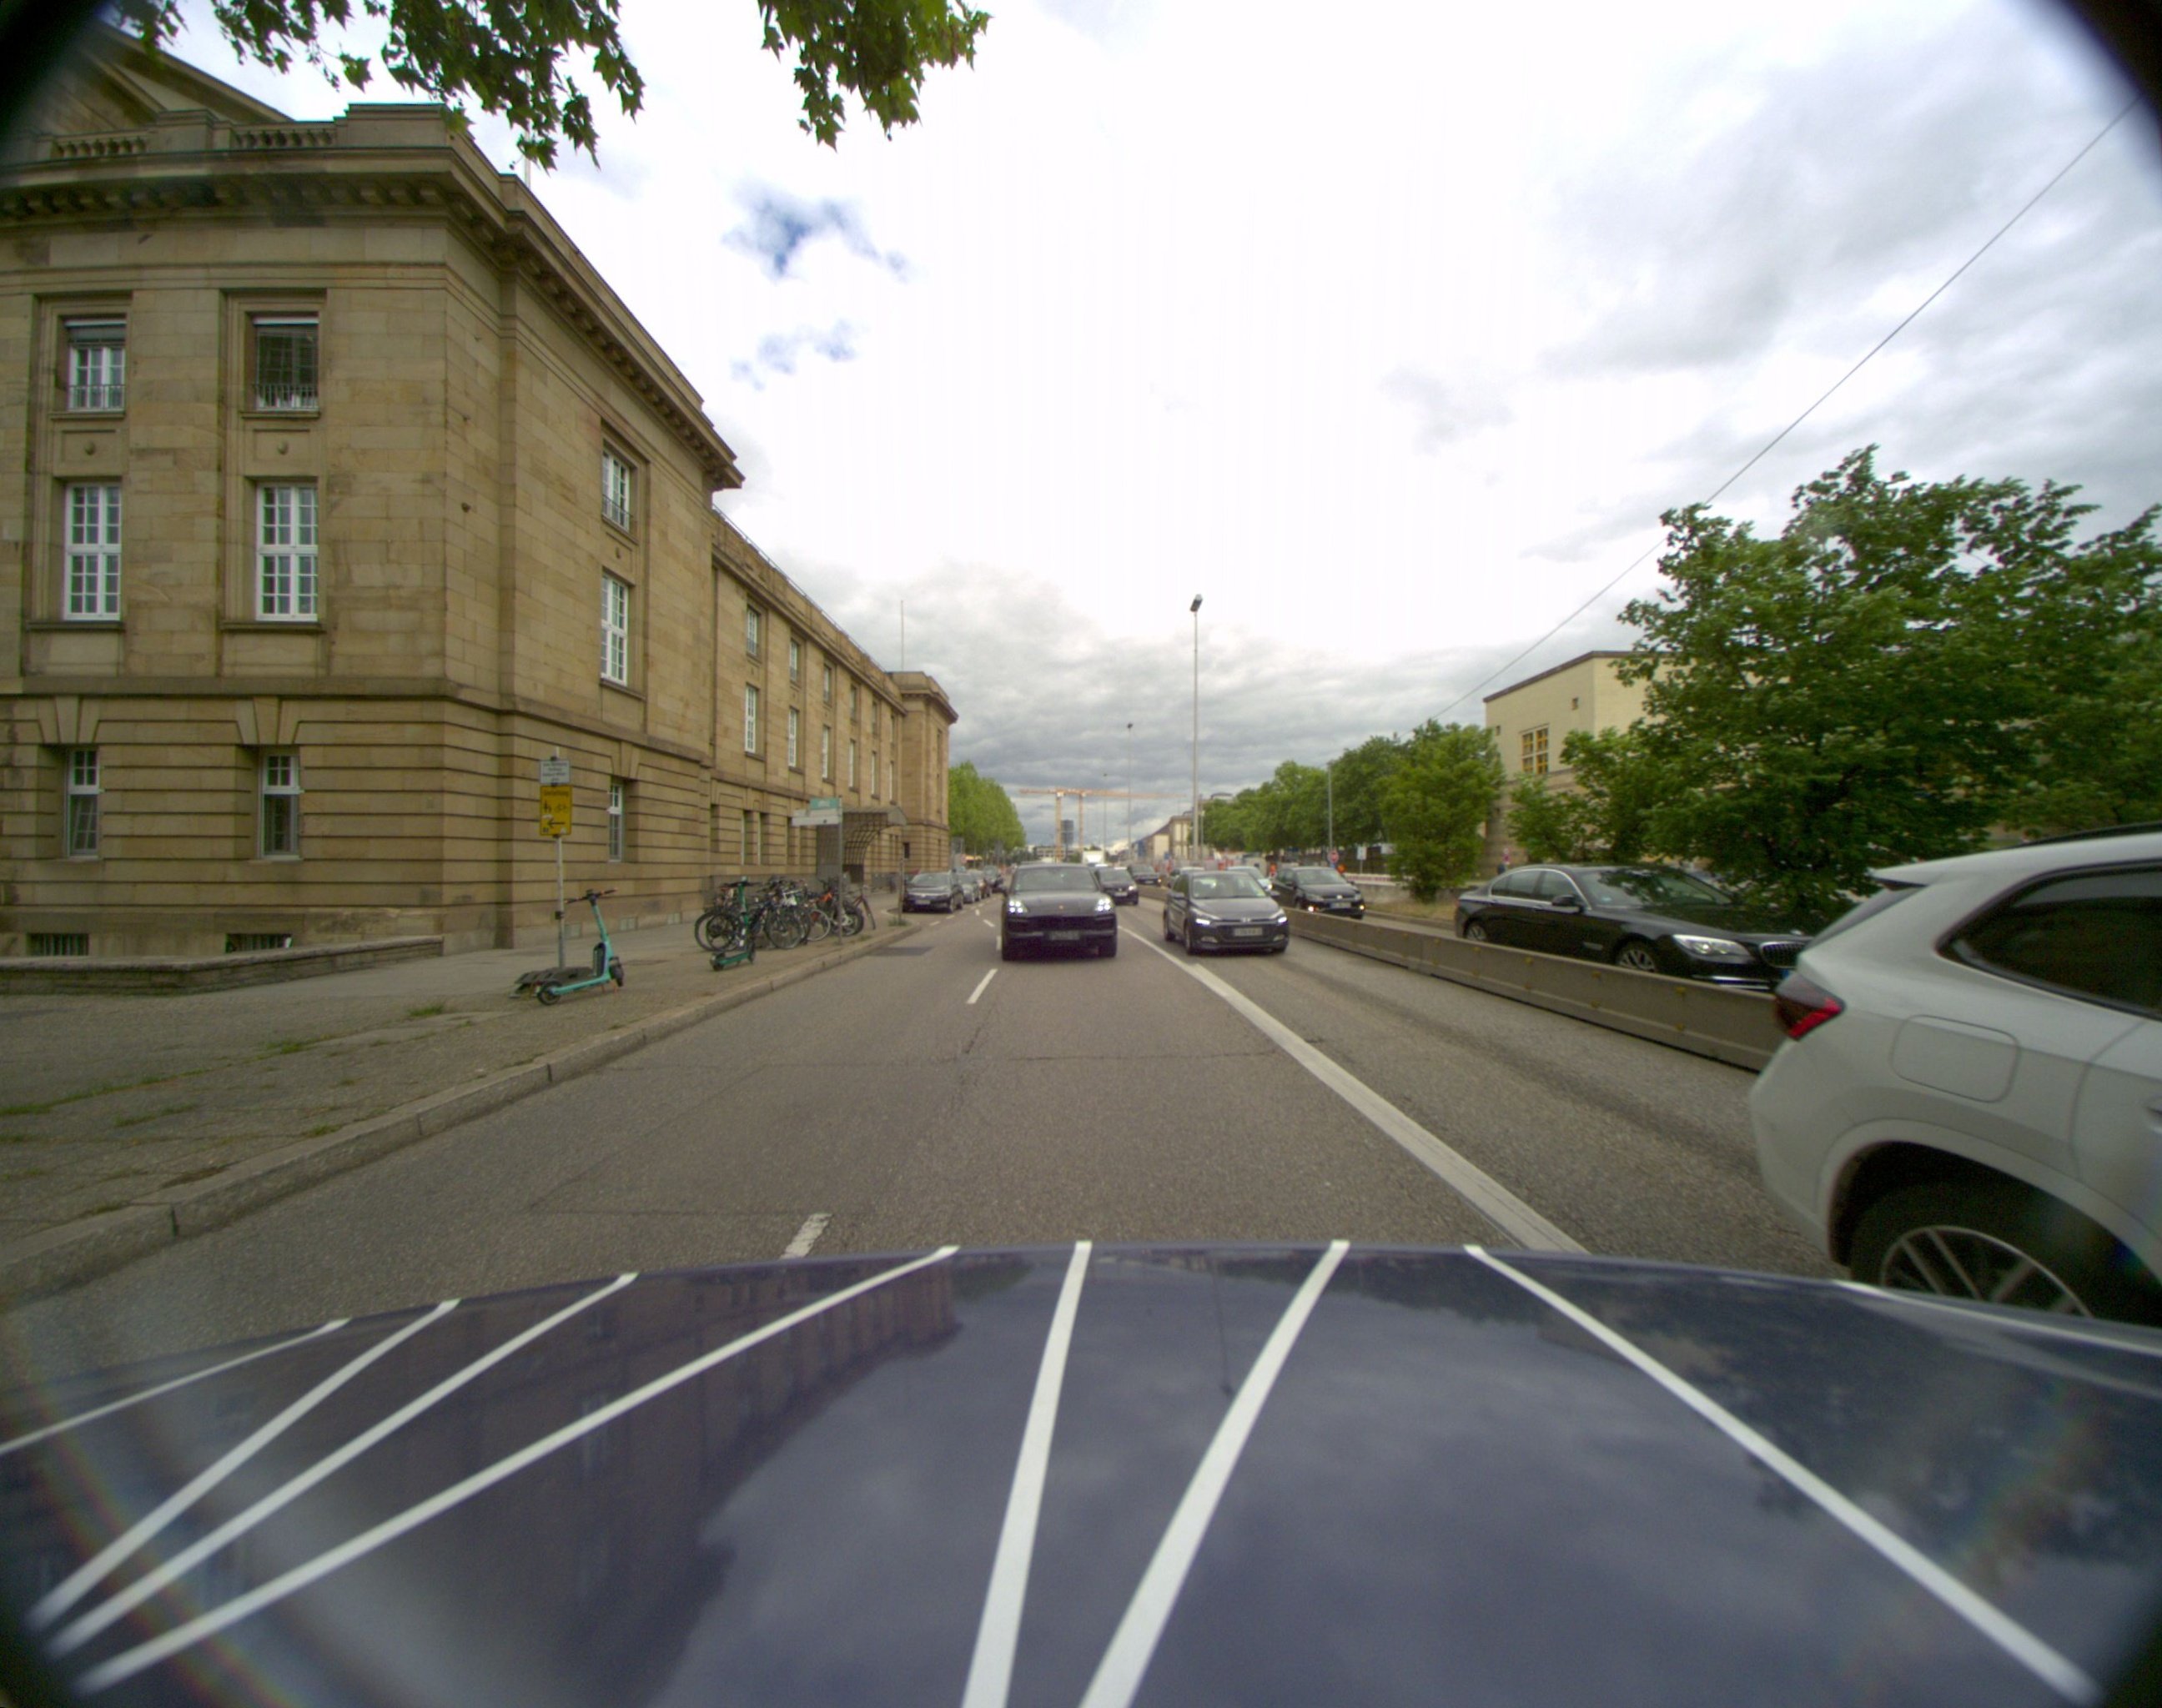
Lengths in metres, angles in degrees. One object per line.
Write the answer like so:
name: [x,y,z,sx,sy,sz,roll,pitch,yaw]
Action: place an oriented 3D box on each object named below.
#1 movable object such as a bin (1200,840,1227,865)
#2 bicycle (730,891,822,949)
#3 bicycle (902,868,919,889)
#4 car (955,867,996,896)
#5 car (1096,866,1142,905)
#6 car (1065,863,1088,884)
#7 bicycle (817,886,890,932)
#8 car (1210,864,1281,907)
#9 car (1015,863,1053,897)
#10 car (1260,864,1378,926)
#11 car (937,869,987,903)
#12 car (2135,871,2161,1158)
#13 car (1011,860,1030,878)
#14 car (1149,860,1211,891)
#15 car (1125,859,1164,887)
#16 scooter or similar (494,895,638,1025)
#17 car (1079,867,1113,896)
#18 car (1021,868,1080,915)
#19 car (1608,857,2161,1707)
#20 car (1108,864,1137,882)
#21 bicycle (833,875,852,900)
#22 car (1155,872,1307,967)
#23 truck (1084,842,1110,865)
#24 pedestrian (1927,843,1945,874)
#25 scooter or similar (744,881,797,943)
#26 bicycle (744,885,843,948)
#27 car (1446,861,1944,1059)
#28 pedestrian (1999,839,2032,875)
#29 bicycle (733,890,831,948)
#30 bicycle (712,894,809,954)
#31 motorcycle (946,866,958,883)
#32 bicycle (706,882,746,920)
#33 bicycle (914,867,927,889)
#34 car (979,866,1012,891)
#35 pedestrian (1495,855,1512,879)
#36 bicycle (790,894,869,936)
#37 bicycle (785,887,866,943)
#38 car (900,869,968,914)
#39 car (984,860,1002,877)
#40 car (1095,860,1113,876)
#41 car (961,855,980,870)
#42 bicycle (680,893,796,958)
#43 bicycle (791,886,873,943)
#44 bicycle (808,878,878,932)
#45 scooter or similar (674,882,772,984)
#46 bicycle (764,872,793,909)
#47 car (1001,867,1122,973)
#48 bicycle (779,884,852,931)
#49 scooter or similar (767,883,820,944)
movable object such as a bin: [11.638,-0.105,66.814,1.526,2.172,3.292,0,0,-4]
bicycle: [-5.909,1.275,14.723,1.731,1.085,0.381,-2,0,13]
bicycle: [-10.152,1.458,45.365,0.557,1.209,1.916,0,0,0]
car: [-5.613,1.446,40.729,1.620,1.446,3.858,1,0,0]
car: [1.511,1.267,31.414,1.612,1.464,3.622,0,0,-2]
car: [-0.409,1.736,68.651,1.999,1.848,4.000,0,-1,0]
bicycle: [-5.540,1.334,18.520,1.664,1.068,0.586,-1,0,20]
car: [6.376,1.171,29.831,1.677,1.498,3.853,-1,0,-4]
car: [-2.773,1.536,45.892,1.952,1.914,4.399,0,0,0]
car: [6.367,1.038,20.819,1.664,1.445,4.196,-1,0,-4]
car: [-5.473,1.452,35.290,1.713,1.417,3.996,1,0,-1]
car: [6.402,0.811,1.622,1.820,1.490,4.770,0,0,3]
car: [-7.072,1.744,89.181,1.999,2.001,3.999,0,0,-2]
car: [5.064,1.076,39.429,1.884,1.472,4.701,-1,0,-9]
car: [3.949,1.164,47.868,1.781,1.611,4.044,-1,0,-5]
scooter or similar: [-5.824,1.152,8.685,0.432,1.273,1.435,-2,0,12]
car: [0.805,1.537,43.053,1.690,1.496,3.999,-1,0,-2]
car: [-1.140,1.281,27.000,1.931,1.501,3.999,0,-1,-4]
car: [2.990,0.839,0.498,1.856,1.618,4.906,-1,0,0]
car: [3.201,1.432,59.177,1.731,1.288,3.933,-1,0,-5]
bicycle: [-10.298,1.429,32.827,0.222,1.023,1.859,-2,0,0]
car: [2.634,1.111,14.334,1.803,1.429,4.019,-1,0,-4]
truck: [1.925,-0.064,95.145,2.978,2.757,7.255,0,0,0]
pedestrian: [45.852,0.241,40.763,0.342,1.685,0.526,-1,0,0]
scooter or similar: [-6.825,1.257,16.740,0.563,1.271,1.149,-2,0,6]
bicycle: [-5.880,1.269,15.597,1.762,1.202,0.604,-2,0,-3]
car: [6.390,0.922,8.918,1.928,1.626,4.937,-1,0,1]
pedestrian: [48.887,0.177,39.763,0.693,1.842,0.804,-2,1,1]
bicycle: [-5.943,1.297,15.140,1.731,1.085,0.575,-2,0,9]
bicycle: [-6.036,1.316,14.313,1.731,1.085,0.426,-2,0,13]
motorcycle: [-9.695,1.498,57.049,0.456,1.235,1.923,1,0,4]
bicycle: [-10.326,1.355,22.172,0.241,0.992,1.963,0,0,0]
bicycle: [-9.952,1.475,47.223,0.413,1.280,1.790,0,0,0]
car: [-5.420,1.542,48.502,1.549,1.543,3.709,0,-1,2]
pedestrian: [35.589,1.068,64.016,0.847,2.002,0.815,-2,1,0]
bicycle: [-5.878,1.414,17.760,1.730,0.911,0.614,-1,0,19]
bicycle: [-5.616,1.320,16.698,1.616,1.123,0.469,-1,0,-25]
car: [-5.332,1.329,28.089,1.793,1.477,4.325,0,-1,-2]
car: [-9.599,1.566,83.231,1.810,1.727,4.484,-1,-1,-5]
car: [2.598,1.605,86.943,1.843,1.750,4.480,0,0,-2]
car: [-12.127,0.934,83.488,1.584,1.521,3.503,-1,0,-2]
bicycle: [-6.153,1.279,13.644,1.860,1.085,0.666,-2,0,13]
bicycle: [-5.369,1.278,16.390,1.616,1.123,0.407,-1,0,-25]
bicycle: [-5.671,1.209,18.123,1.544,1.249,0.544,-2,0,19]
scooter or similar: [-5.169,1.103,11.071,0.727,1.323,1.413,-2,0,0]
bicycle: [-10.342,1.234,26.010,0.276,1.176,1.538,-2,0,3]
car: [-0.447,1.075,14.150,1.908,1.647,4.200,0,-1,-4]
bicycle: [-6.136,1.237,17.552,1.565,1.022,0.436,-2,0,12]
scooter or similar: [-6.278,1.279,16.657,0.426,1.217,1.313,-2,0,11]
